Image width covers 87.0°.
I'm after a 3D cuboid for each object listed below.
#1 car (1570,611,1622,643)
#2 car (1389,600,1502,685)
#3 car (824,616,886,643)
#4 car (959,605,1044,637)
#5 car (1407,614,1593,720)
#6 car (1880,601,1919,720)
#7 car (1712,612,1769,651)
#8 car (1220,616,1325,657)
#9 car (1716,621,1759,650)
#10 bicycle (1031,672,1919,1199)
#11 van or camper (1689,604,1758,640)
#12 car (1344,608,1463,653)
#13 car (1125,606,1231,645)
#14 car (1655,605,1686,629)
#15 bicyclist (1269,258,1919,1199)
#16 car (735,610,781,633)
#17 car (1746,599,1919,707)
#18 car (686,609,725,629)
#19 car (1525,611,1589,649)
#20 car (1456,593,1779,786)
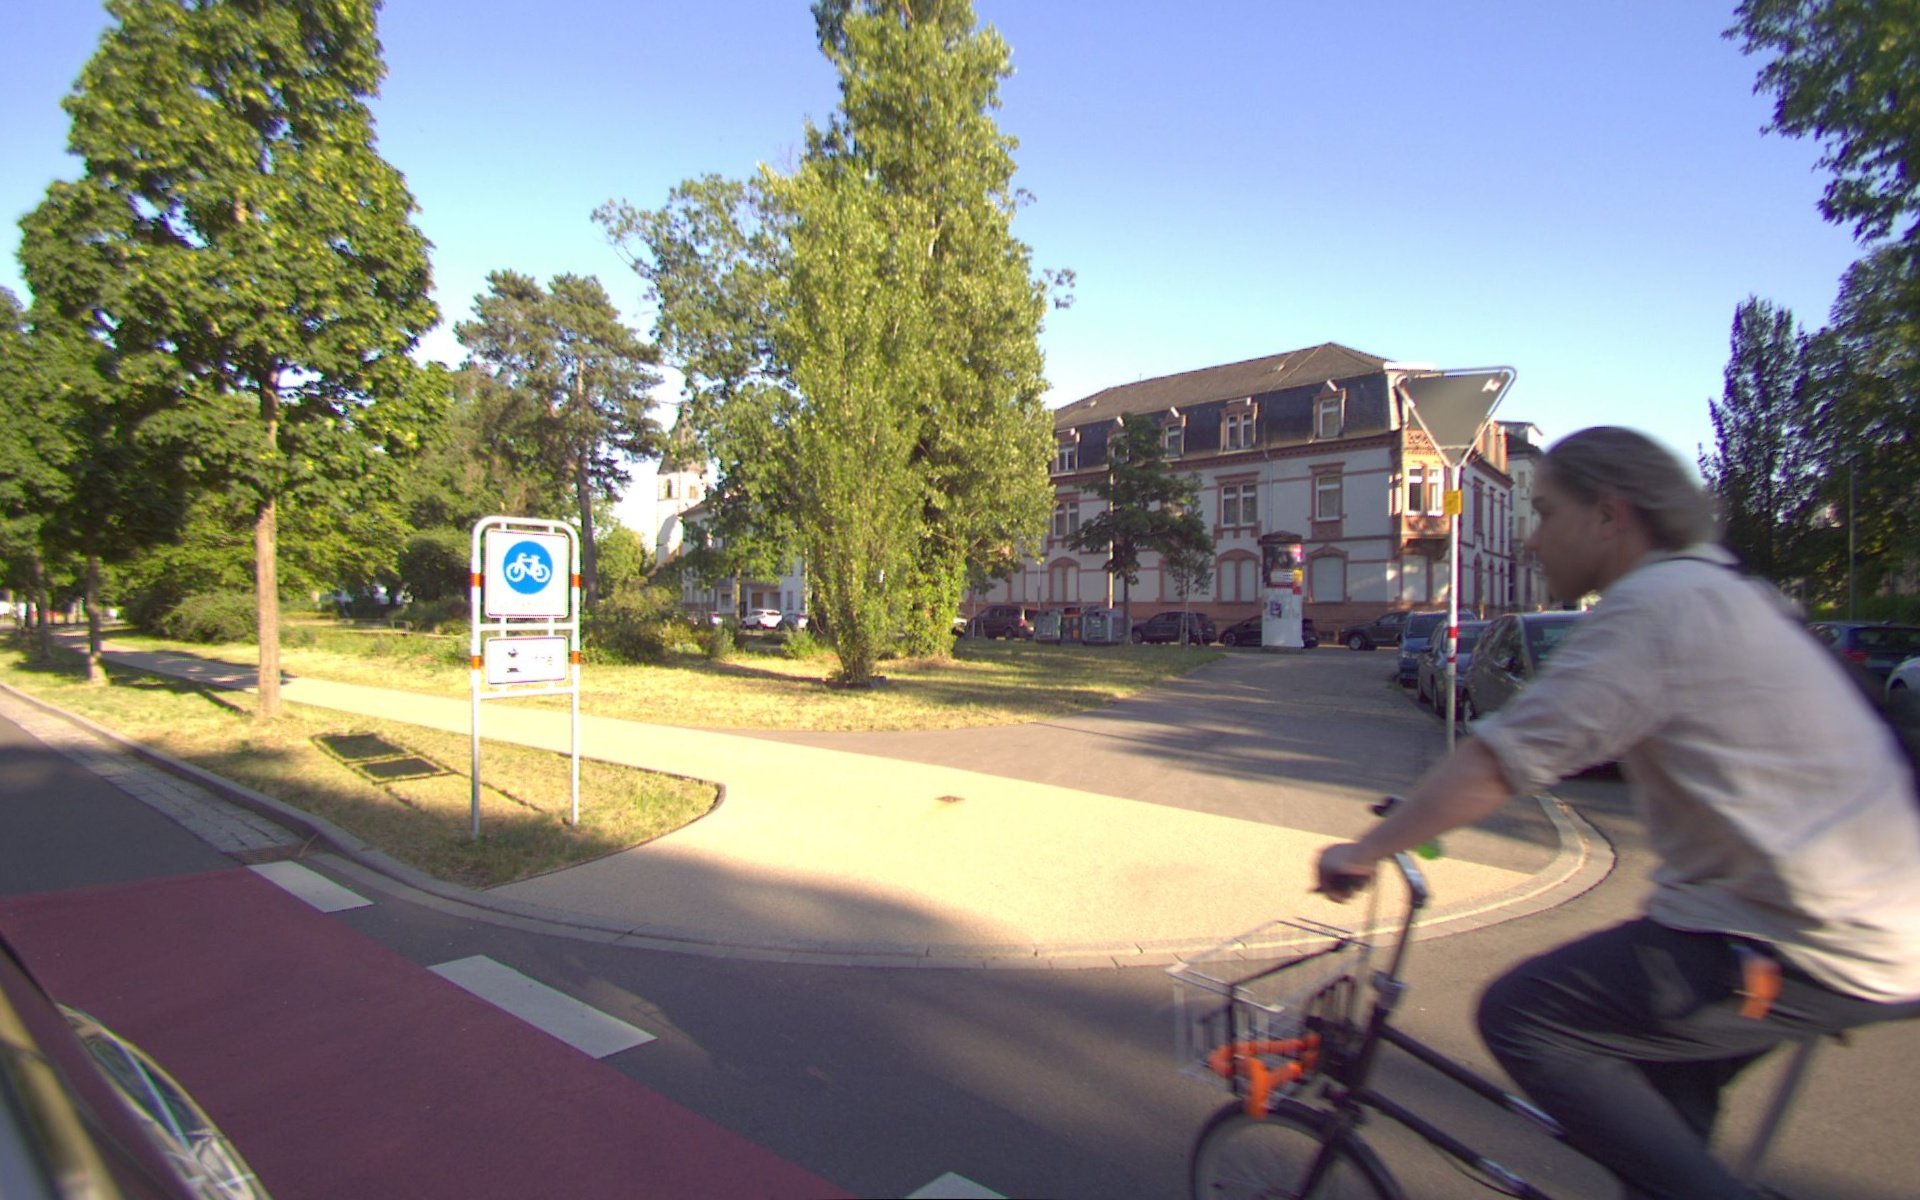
[{"bbox_3d":[34.069,1.410,54.172,1.889,1.586,3.947,2,0,39],"label":"car"},{"bbox_3d":[10.617,0.878,22.402,1.826,1.656,4.248,1,-1,20],"label":"car"},{"bbox_3d":[-7.072,1.961,67.700,1.861,1.586,4.608,2,0,-39],"label":"car"},{"bbox_3d":[2.240,1.149,55.875,4.600,1.586,1.864,2,0,44],"label":"car"},{"bbox_3d":[8.334,0.946,16.013,1.825,1.411,4.252,1,-1,17],"label":"car"},{"bbox_3d":[13.410,0.830,12.255,1.876,1.586,3.975,2,0,19],"label":"car"},{"bbox_3d":[34.761,1.368,45.117,1.888,1.586,3.949,2,0,37],"label":"car"},{"bbox_3d":[13.720,1.563,44.565,4.000,1.586,1.864,2,0,42],"label":"car"},{"bbox_3d":[46.261,2.067,60.204,1.889,1.586,3.947,2,0,39],"label":"car"},{"bbox_3d":[1.142,0.761,1.706,0.729,1.144,2.106,1,-1,-44],"label":"bicycle"},{"bbox_3d":[57.798,1.633,76.759,2.061,2.569,6.045,2,0,16],"label":"van or camper"},{"bbox_3d":[17.862,1.207,40.803,3.998,1.586,1.865,2,0,41],"label":"car"},{"bbox_3d":[10.269,1.182,47.917,4.600,1.586,1.864,2,0,44],"label":"car"},{"bbox_3d":[63.861,1.540,90.954,1.998,2.029,3.948,0,-1,39],"label":"car"},{"bbox_3d":[1.163,0.481,1.690,0.926,1.715,0.906,1,-1,-44],"label":"bicyclist"},{"bbox_3d":[-15.866,1.646,79.357,1.859,1.586,4.611,2,0,-35],"label":"car"},{"bbox_3d":[15.094,0.821,16.922,1.877,1.586,3.974,2,0,20],"label":"car"},{"bbox_3d":[-22.081,1.621,87.782,1.859,1.586,4.612,2,0,-33],"label":"car"},{"bbox_3d":[26.886,1.319,45.525,1.889,1.586,3.947,2,0,39],"label":"car"},{"bbox_3d":[6.719,0.804,10.860,1.823,1.643,3.827,1,-1,16],"label":"car"}]
